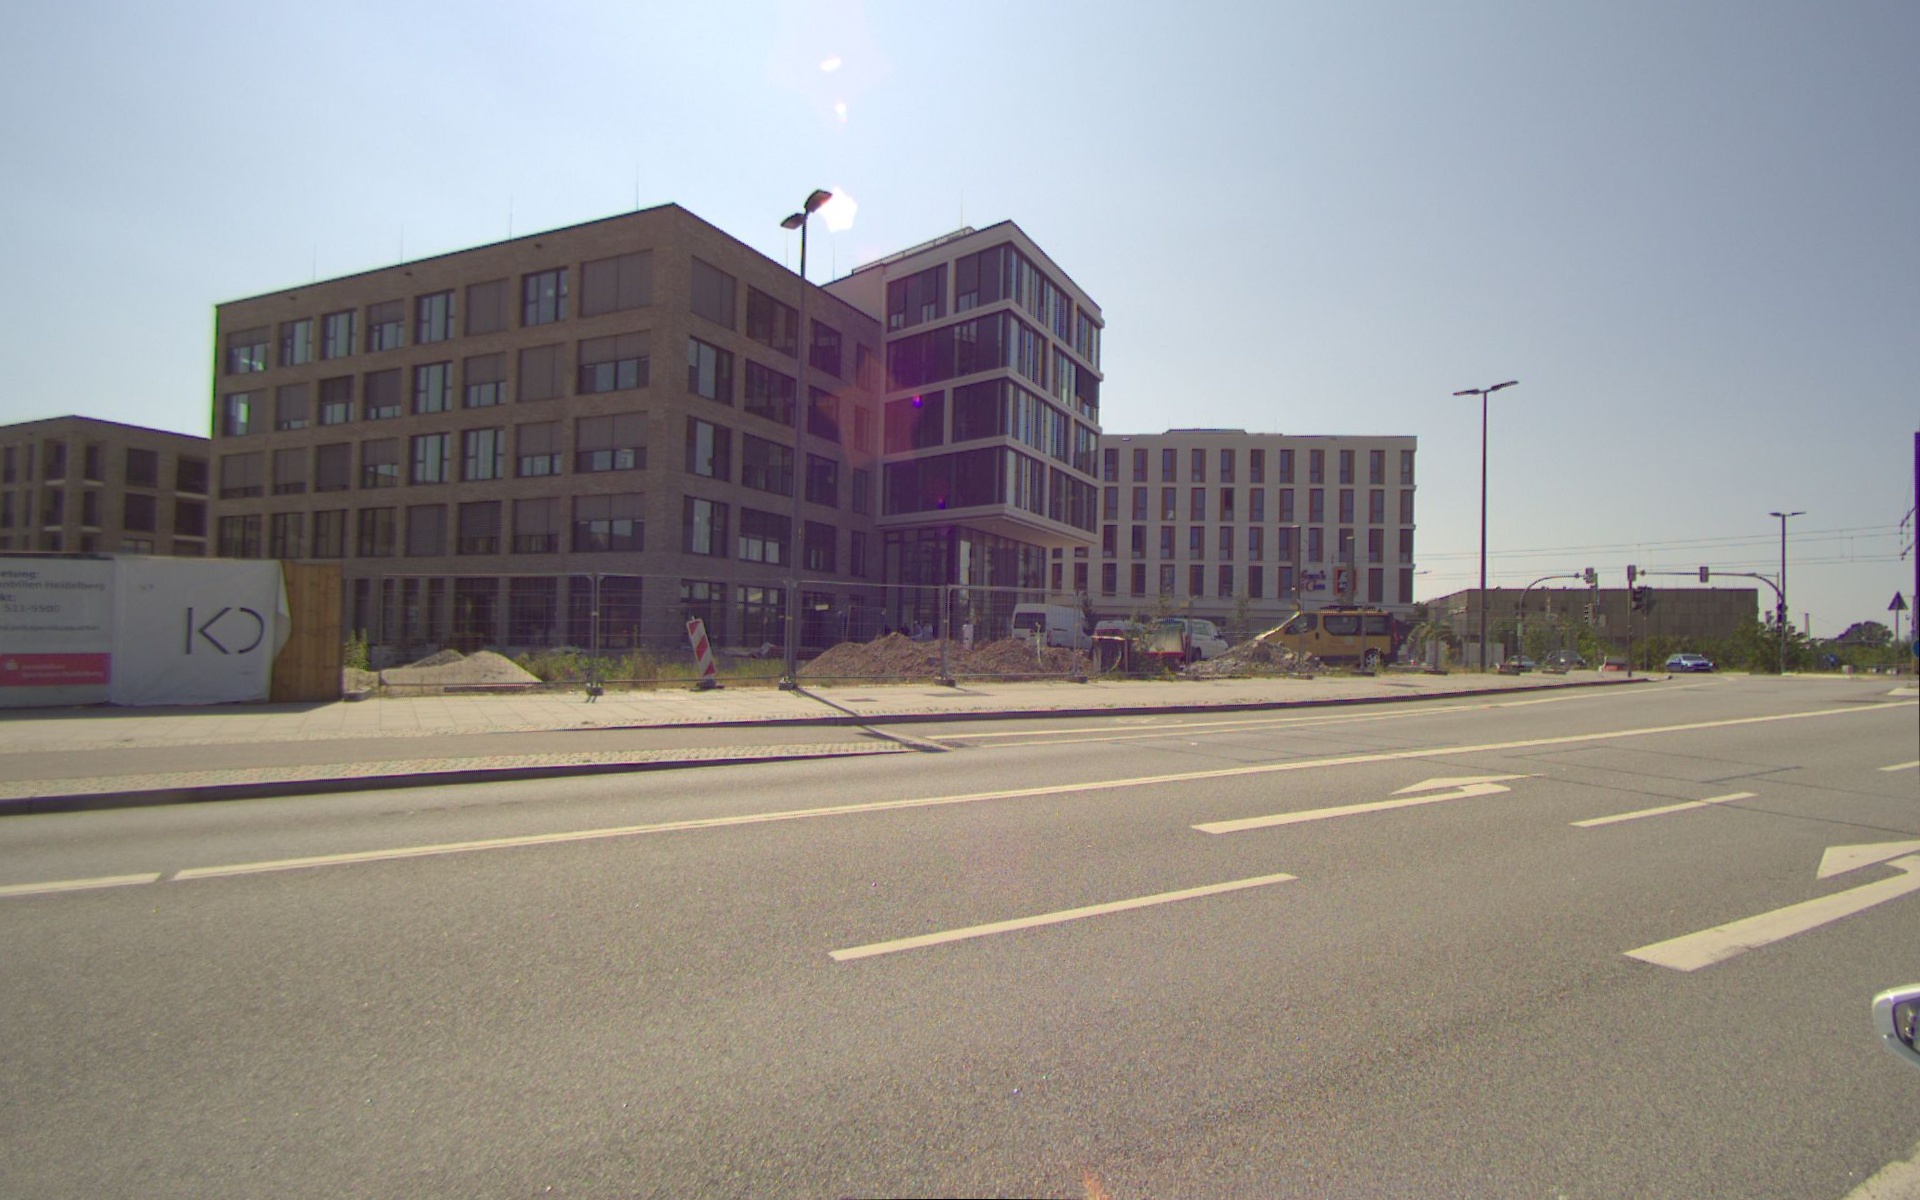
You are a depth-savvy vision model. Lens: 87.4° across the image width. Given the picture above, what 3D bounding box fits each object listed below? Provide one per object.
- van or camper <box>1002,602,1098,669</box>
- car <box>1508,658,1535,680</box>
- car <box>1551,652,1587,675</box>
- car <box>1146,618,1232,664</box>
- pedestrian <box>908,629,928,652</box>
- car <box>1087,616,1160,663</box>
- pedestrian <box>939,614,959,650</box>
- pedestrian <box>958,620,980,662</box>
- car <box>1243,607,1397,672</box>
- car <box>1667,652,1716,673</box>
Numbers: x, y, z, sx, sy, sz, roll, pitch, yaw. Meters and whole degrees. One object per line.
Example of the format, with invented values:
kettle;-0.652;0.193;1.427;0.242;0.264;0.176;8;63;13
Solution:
van or camper;4.113;1.545;45.059;2.273;2.772;4.975;2;0;32
car;46.891;5.737;83.925;1.541;1.608;3.478;1;-1;23
car;44.347;4.630;73.208;1.646;1.496;3.405;0;-1;22
car;9.659;1.683;42.174;1.841;1.797;4.637;2;0;36
pedestrian;-1.995;1.923;47.362;0.734;1.041;0.699;2;0;16
car;7.149;1.694;43.651;1.759;1.881;3.842;2;0;32
pedestrian;-0.528;1.570;49.159;0.734;1.741;0.699;2;0;16
pedestrian;0.395;1.742;42.967;0.734;1.741;0.699;2;0;16
car;11.990;1.288;33.771;4.533;1.988;1.991;2;0;9
car;52.193;4.450;71.775;1.787;1.348;4.000;2;-2;20
